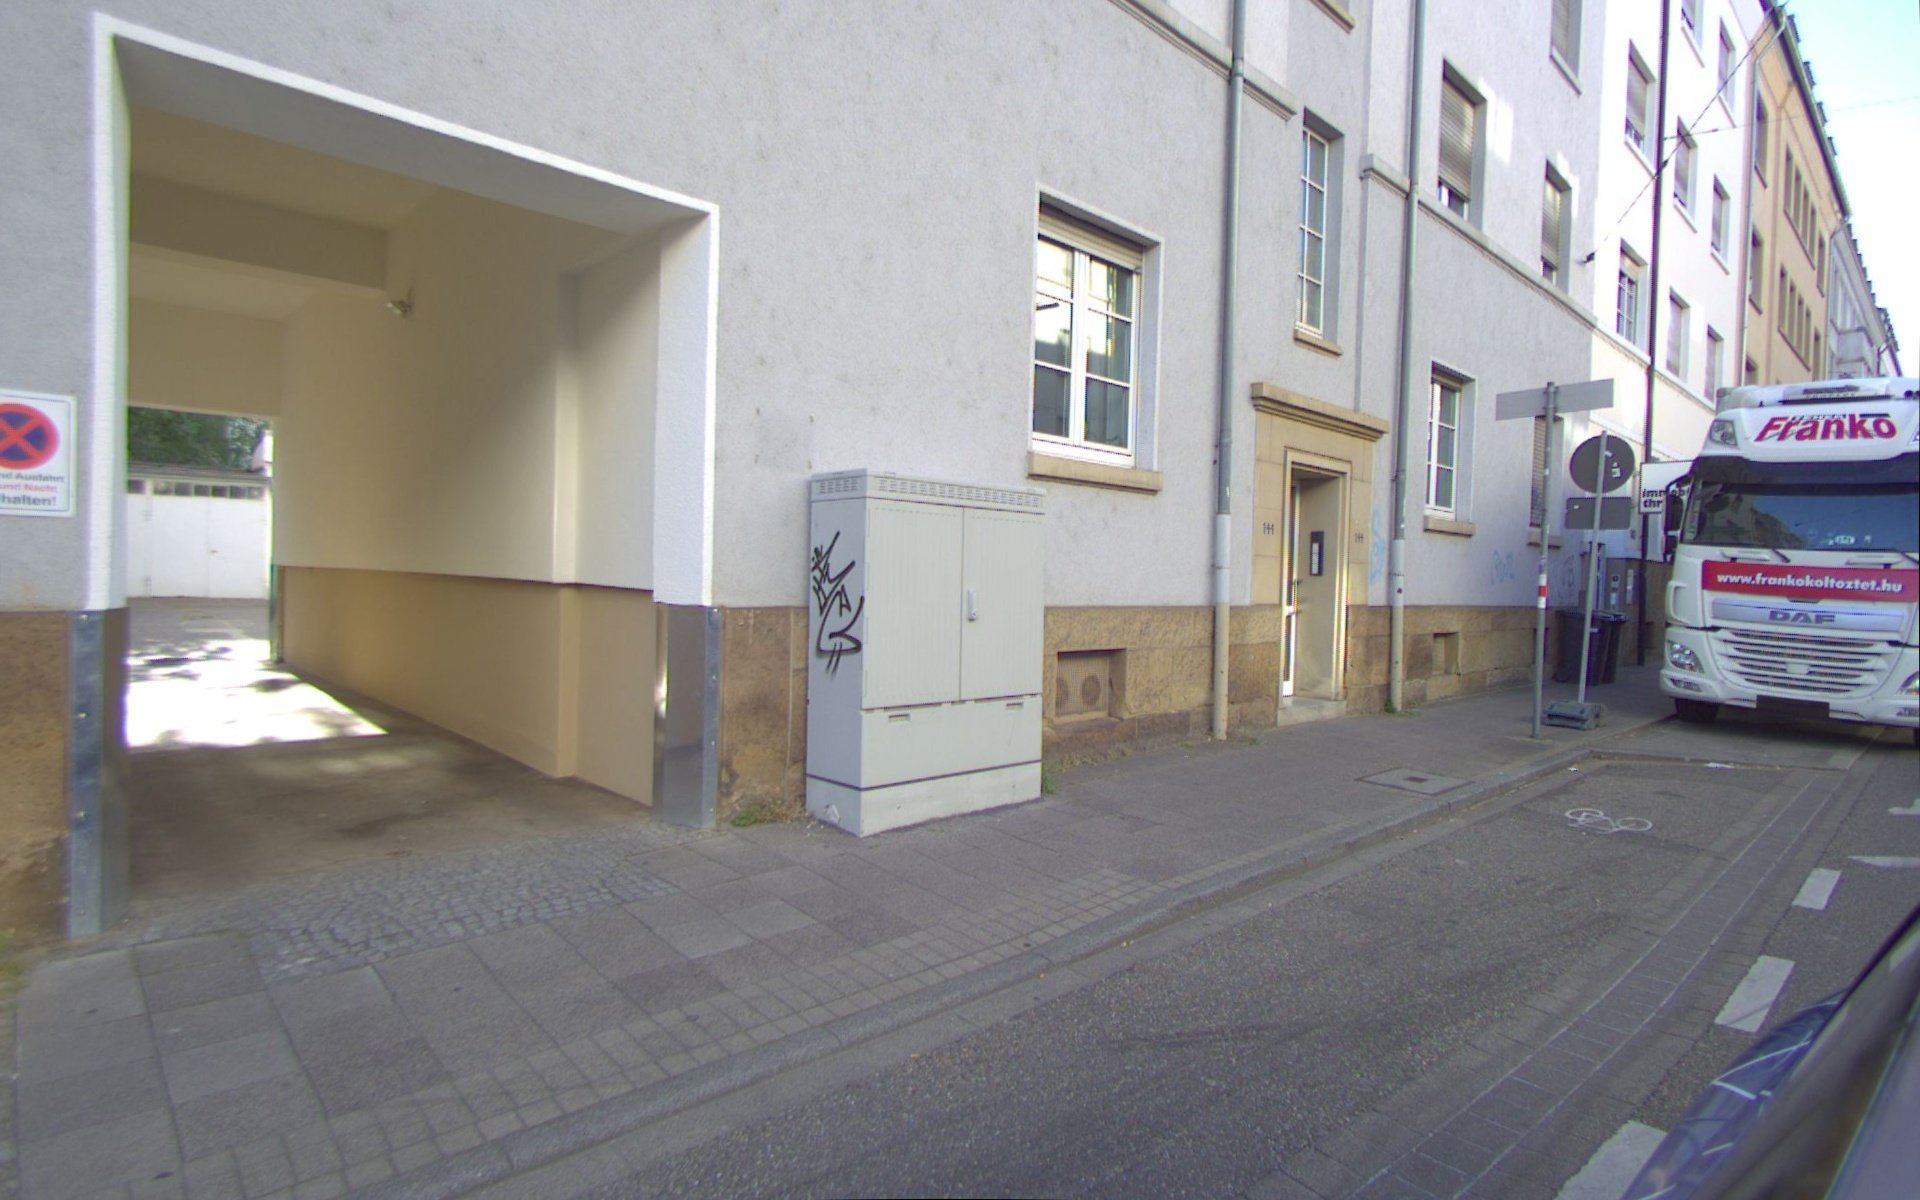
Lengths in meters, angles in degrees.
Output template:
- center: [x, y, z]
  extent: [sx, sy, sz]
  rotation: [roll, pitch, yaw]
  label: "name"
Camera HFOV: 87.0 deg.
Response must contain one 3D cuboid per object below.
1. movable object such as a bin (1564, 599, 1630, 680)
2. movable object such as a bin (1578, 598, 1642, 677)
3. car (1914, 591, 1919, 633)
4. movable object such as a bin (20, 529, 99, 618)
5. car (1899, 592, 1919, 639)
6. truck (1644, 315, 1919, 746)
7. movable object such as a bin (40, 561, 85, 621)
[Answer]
- center: [9.179, 0.551, 14.586]
  extent: [0.560, 1.107, 0.665]
  rotation: [0, 2, -43]
  label: "movable object such as a bin"
- center: [9.658, 0.542, 15.037]
  extent: [0.560, 1.107, 0.665]
  rotation: [0, 2, -43]
  label: "movable object such as a bin"
- center: [37.684, 0.461, 38.628]
  extent: [4.080, 1.551, 1.681]
  rotation: [0, 0, -44]
  label: "car"
- center: [-15.146, -0.455, 17.017]
  extent: [0.946, 1.426, 1.597]
  rotation: [0, 2, -43]
  label: "movable object such as a bin"
- center: [33.513, 0.529, 34.731]
  extent: [4.080, 1.551, 1.681]
  rotation: [0, 0, -44]
  label: "car"
- center: [12.583, -0.679, 13.879]
  extent: [11.621, 3.975, 2.778]
  rotation: [0, 2, -44]
  label: "truck"
- center: [-14.369, -0.149, 16.198]
  extent: [0.518, 0.922, 0.580]
  rotation: [0, 2, -43]
  label: "movable object such as a bin"
